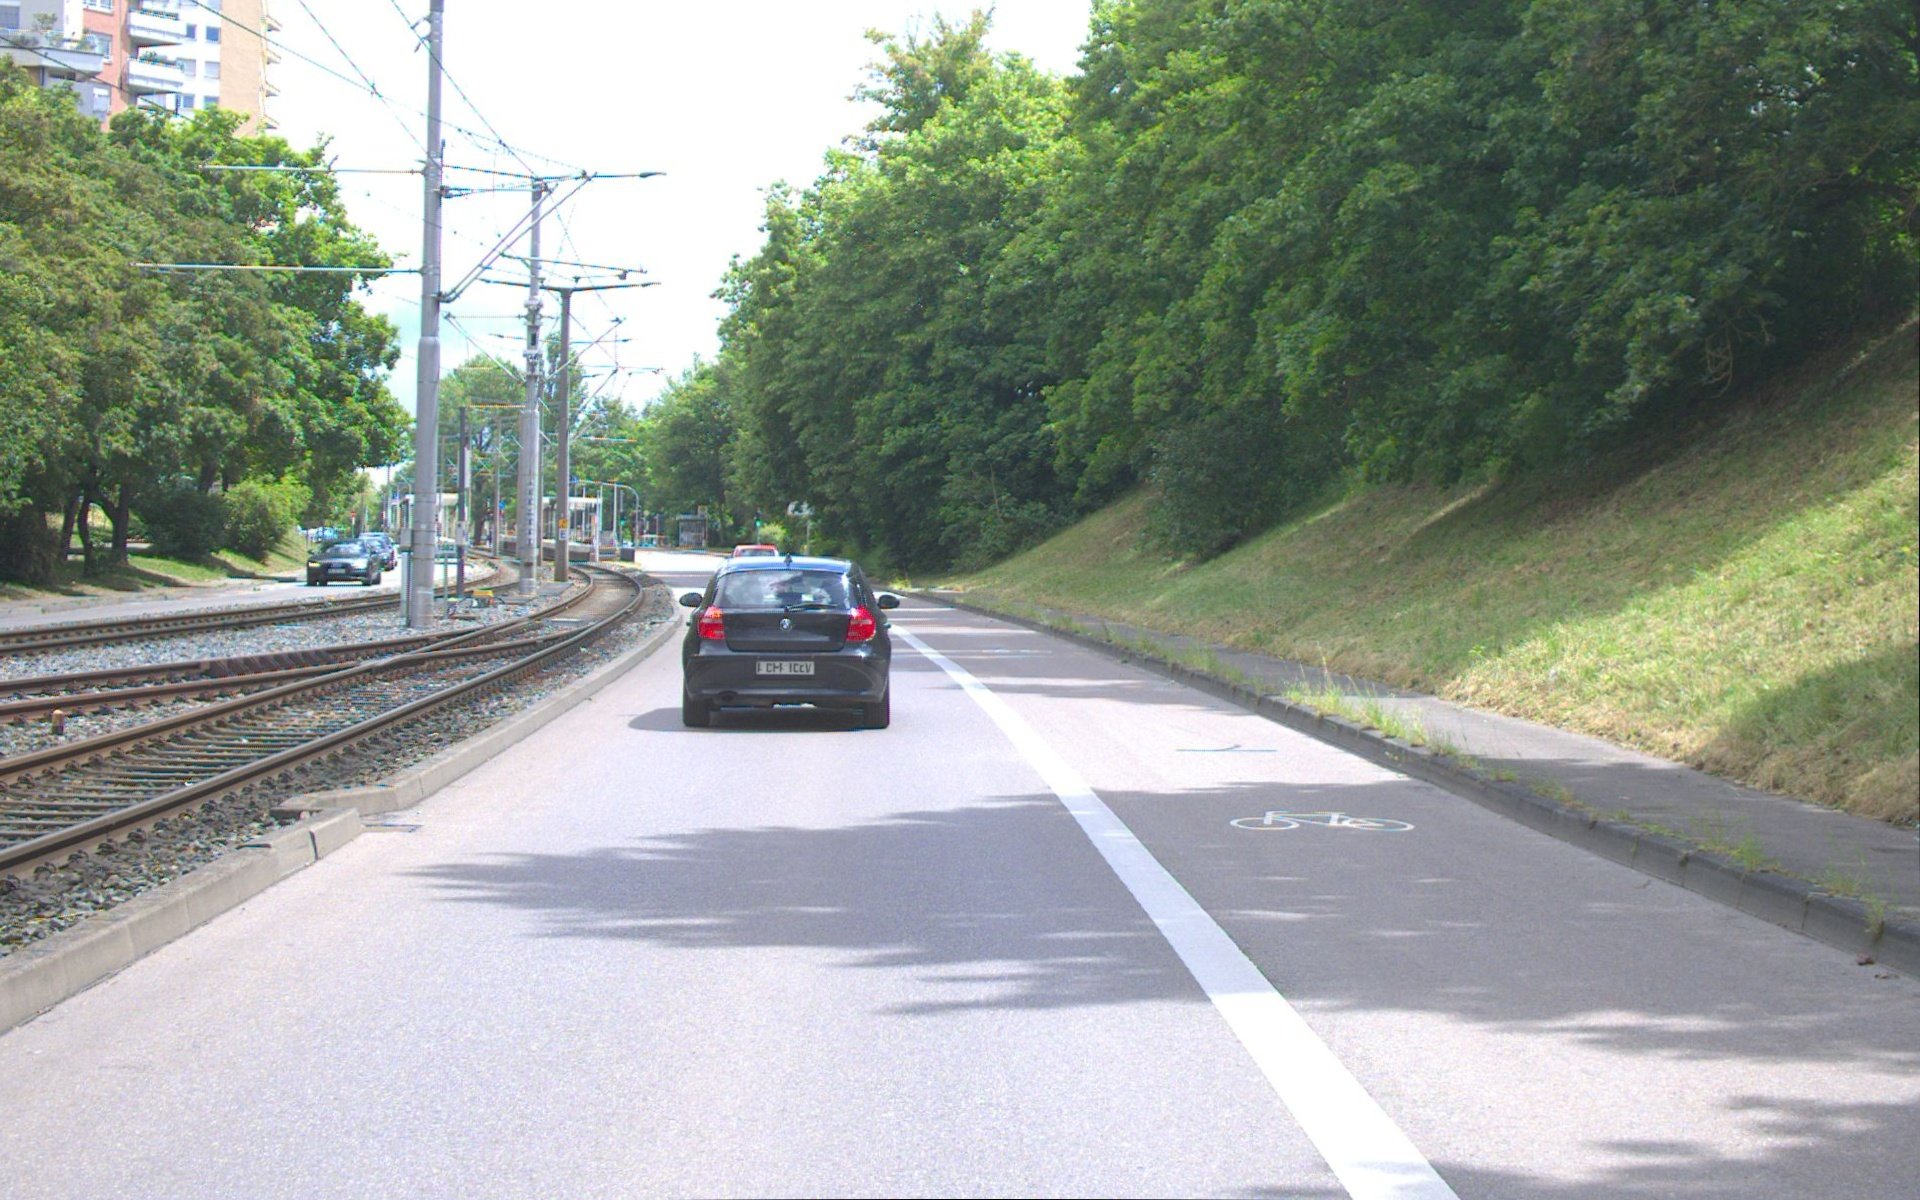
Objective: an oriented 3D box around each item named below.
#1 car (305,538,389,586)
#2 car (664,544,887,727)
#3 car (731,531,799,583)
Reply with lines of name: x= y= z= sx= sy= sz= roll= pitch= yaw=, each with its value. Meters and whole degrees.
car: x=-18.507 y=-1.168 z=103.954 sx=1.835 sy=1.386 sz=4.862 roll=-1 pitch=1 yaw=-2
car: x=-1.611 y=0.248 z=29.414 sx=1.781 sy=1.454 sz=3.922 roll=0 pitch=1 yaw=-4
car: x=-5.605 y=-1.236 z=98.347 sx=1.781 sy=1.454 sz=3.922 roll=1 pitch=1 yaw=-5
